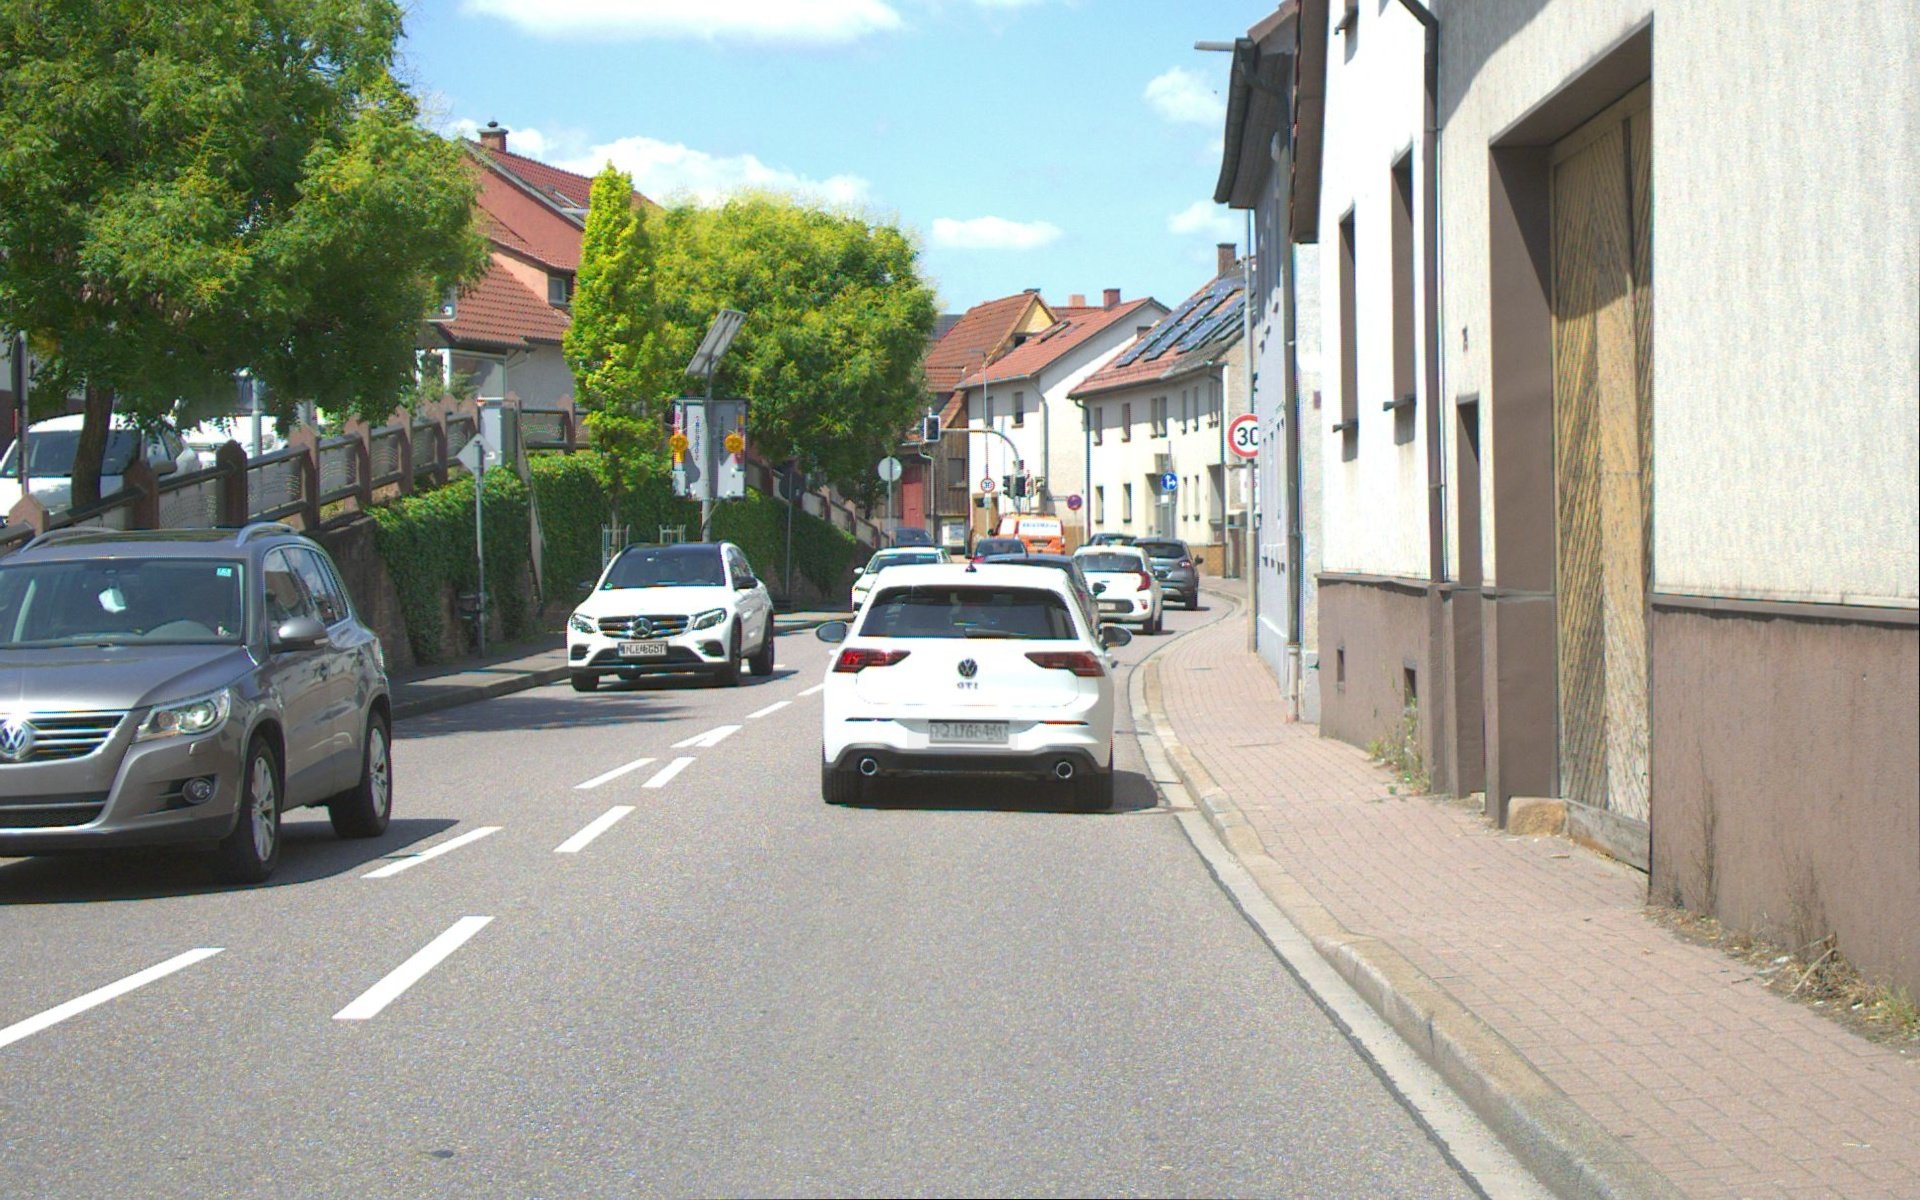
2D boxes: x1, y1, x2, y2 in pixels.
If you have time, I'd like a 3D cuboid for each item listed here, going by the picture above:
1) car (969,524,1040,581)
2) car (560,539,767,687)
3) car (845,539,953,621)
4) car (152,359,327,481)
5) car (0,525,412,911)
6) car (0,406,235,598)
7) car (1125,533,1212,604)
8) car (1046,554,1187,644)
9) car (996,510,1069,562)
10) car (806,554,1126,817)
[{"bbox_3d":[1.214,-1.285,92.486,1.617,1.439,3.801,-2,1,5],"label":"car"},{"bbox_3d":[-3.385,0.103,39.991,1.842,1.574,4.445,-1,1,2],"label":"car"},{"bbox_3d":[-1.121,-0.402,65.118,1.813,1.442,4.430,-2,1,1],"label":"car"},{"bbox_3d":[-9.546,-2.435,45.795,1.576,1.357,3.857,0,7,-1],"label":"car"},{"bbox_3d":[-3.940,0.470,16.726,1.758,1.629,4.049,-1,1,2],"label":"car"},{"bbox_3d":[-8.399,-1.021,33.981,1.693,1.537,3.857,0,7,-1],"label":"car"},{"bbox_3d":[4.726,-0.727,77.454,1.776,1.533,3.999,0,1,6],"label":"car"},{"bbox_3d":[2.724,-0.049,59.100,1.808,1.462,3.998,1,1,11],"label":"car"},{"bbox_3d":[2.473,-2.217,118.390,1.775,1.759,4.001,-1,1,-10],"label":"car"},{"bbox_3d":[0.061,0.463,21.685,1.808,1.462,4.000,1,1,1],"label":"car"}]
